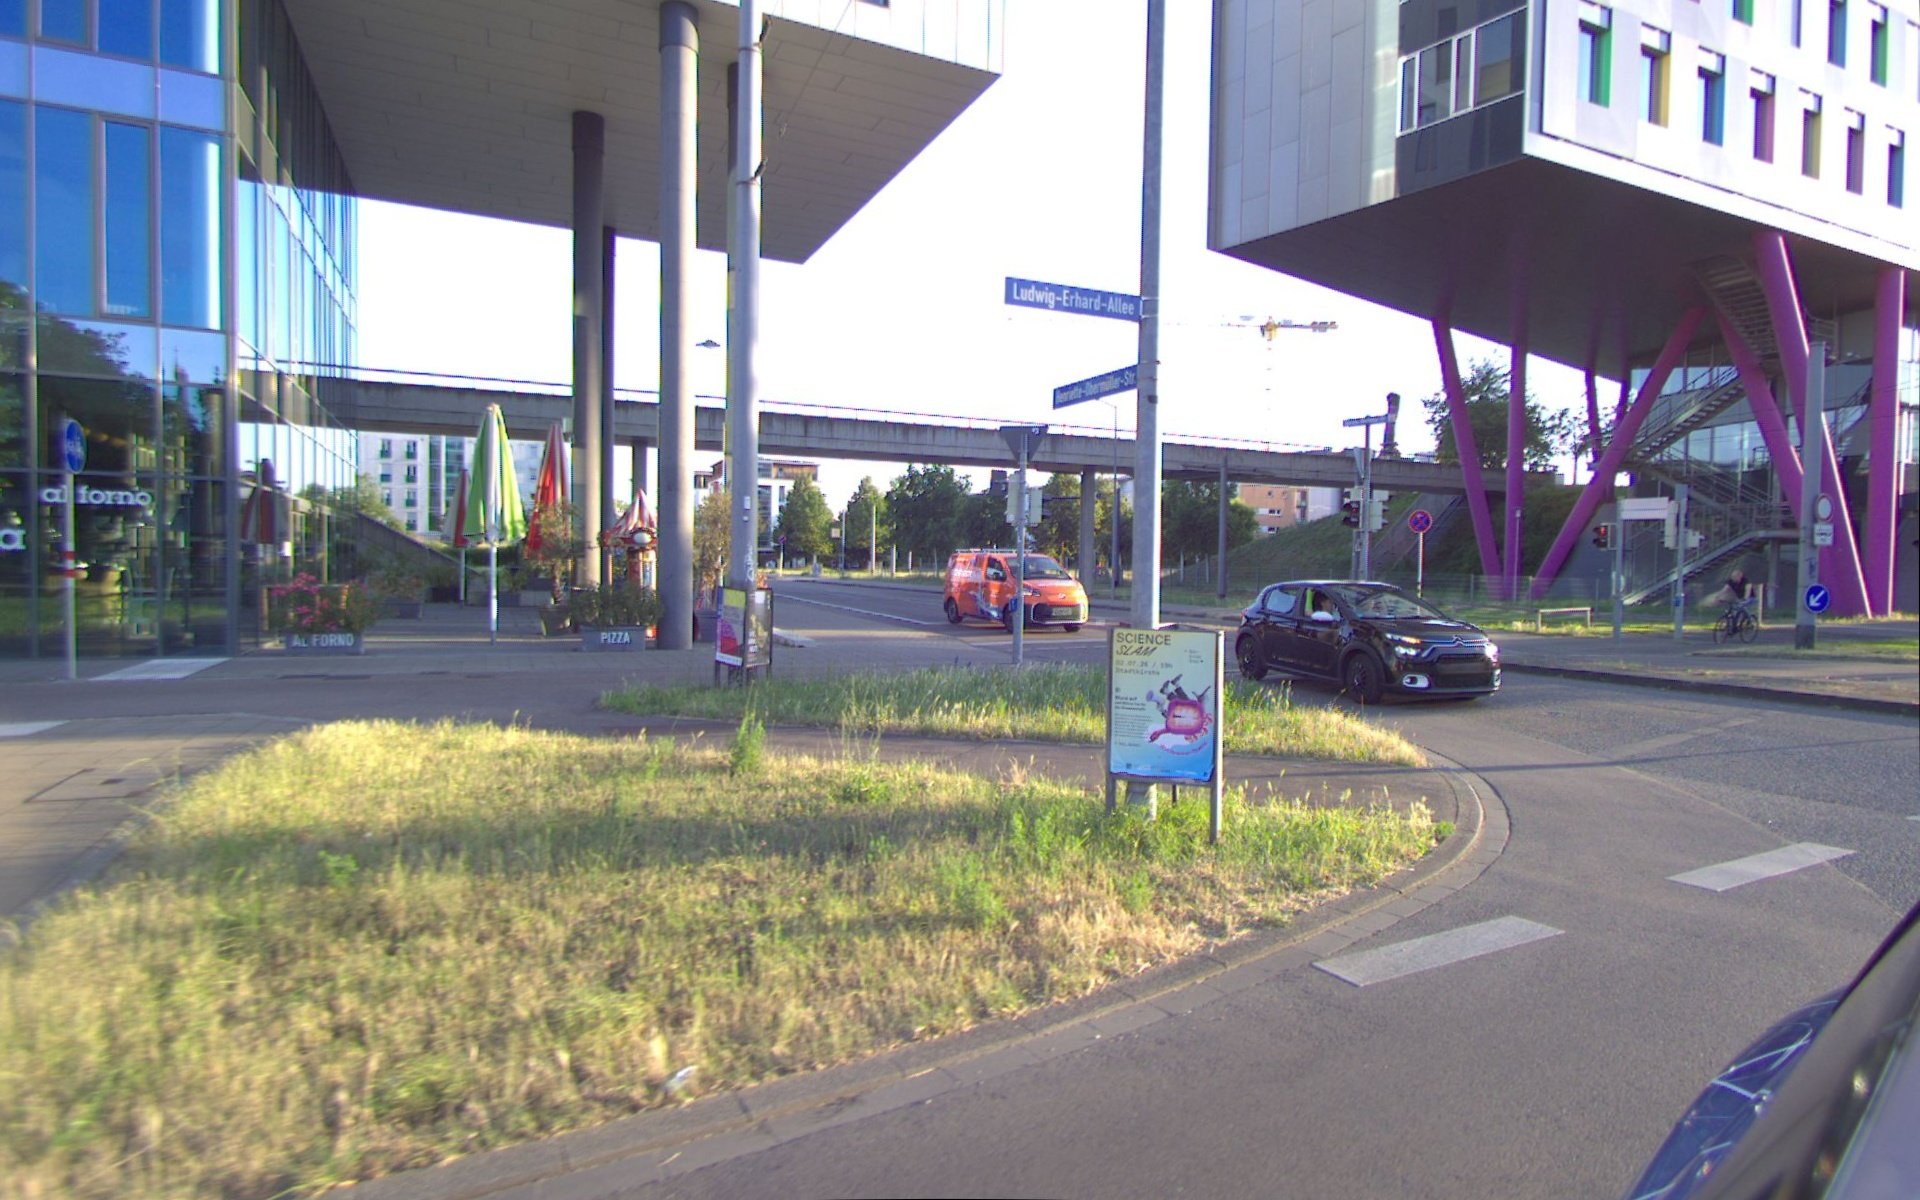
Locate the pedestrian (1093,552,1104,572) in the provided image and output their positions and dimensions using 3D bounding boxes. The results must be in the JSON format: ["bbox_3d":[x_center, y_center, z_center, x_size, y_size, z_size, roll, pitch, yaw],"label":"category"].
[{"bbox_3d":[11.296,-3.103,82.466,0.764,1.631,0.417,0,2,-12],"label":"pedestrian"}]

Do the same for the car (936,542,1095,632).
[{"bbox_3d":[1.246,-0.420,25.147,1.892,2.015,4.832,-1,3,-25],"label":"car"}]

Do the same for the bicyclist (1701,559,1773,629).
[{"bbox_3d":[18.805,-0.153,24.502,1.261,1.653,0.809,0,2,-23],"label":"bicyclist"}]

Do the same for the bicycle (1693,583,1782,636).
[{"bbox_3d":[18.831,0.218,24.518,2.066,1.221,0.745,0,2,-23],"label":"bicycle"}]

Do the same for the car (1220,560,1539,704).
[{"bbox_3d":[5.312,0.283,13.478,1.724,1.571,4.082,0,3,-16],"label":"car"}]
